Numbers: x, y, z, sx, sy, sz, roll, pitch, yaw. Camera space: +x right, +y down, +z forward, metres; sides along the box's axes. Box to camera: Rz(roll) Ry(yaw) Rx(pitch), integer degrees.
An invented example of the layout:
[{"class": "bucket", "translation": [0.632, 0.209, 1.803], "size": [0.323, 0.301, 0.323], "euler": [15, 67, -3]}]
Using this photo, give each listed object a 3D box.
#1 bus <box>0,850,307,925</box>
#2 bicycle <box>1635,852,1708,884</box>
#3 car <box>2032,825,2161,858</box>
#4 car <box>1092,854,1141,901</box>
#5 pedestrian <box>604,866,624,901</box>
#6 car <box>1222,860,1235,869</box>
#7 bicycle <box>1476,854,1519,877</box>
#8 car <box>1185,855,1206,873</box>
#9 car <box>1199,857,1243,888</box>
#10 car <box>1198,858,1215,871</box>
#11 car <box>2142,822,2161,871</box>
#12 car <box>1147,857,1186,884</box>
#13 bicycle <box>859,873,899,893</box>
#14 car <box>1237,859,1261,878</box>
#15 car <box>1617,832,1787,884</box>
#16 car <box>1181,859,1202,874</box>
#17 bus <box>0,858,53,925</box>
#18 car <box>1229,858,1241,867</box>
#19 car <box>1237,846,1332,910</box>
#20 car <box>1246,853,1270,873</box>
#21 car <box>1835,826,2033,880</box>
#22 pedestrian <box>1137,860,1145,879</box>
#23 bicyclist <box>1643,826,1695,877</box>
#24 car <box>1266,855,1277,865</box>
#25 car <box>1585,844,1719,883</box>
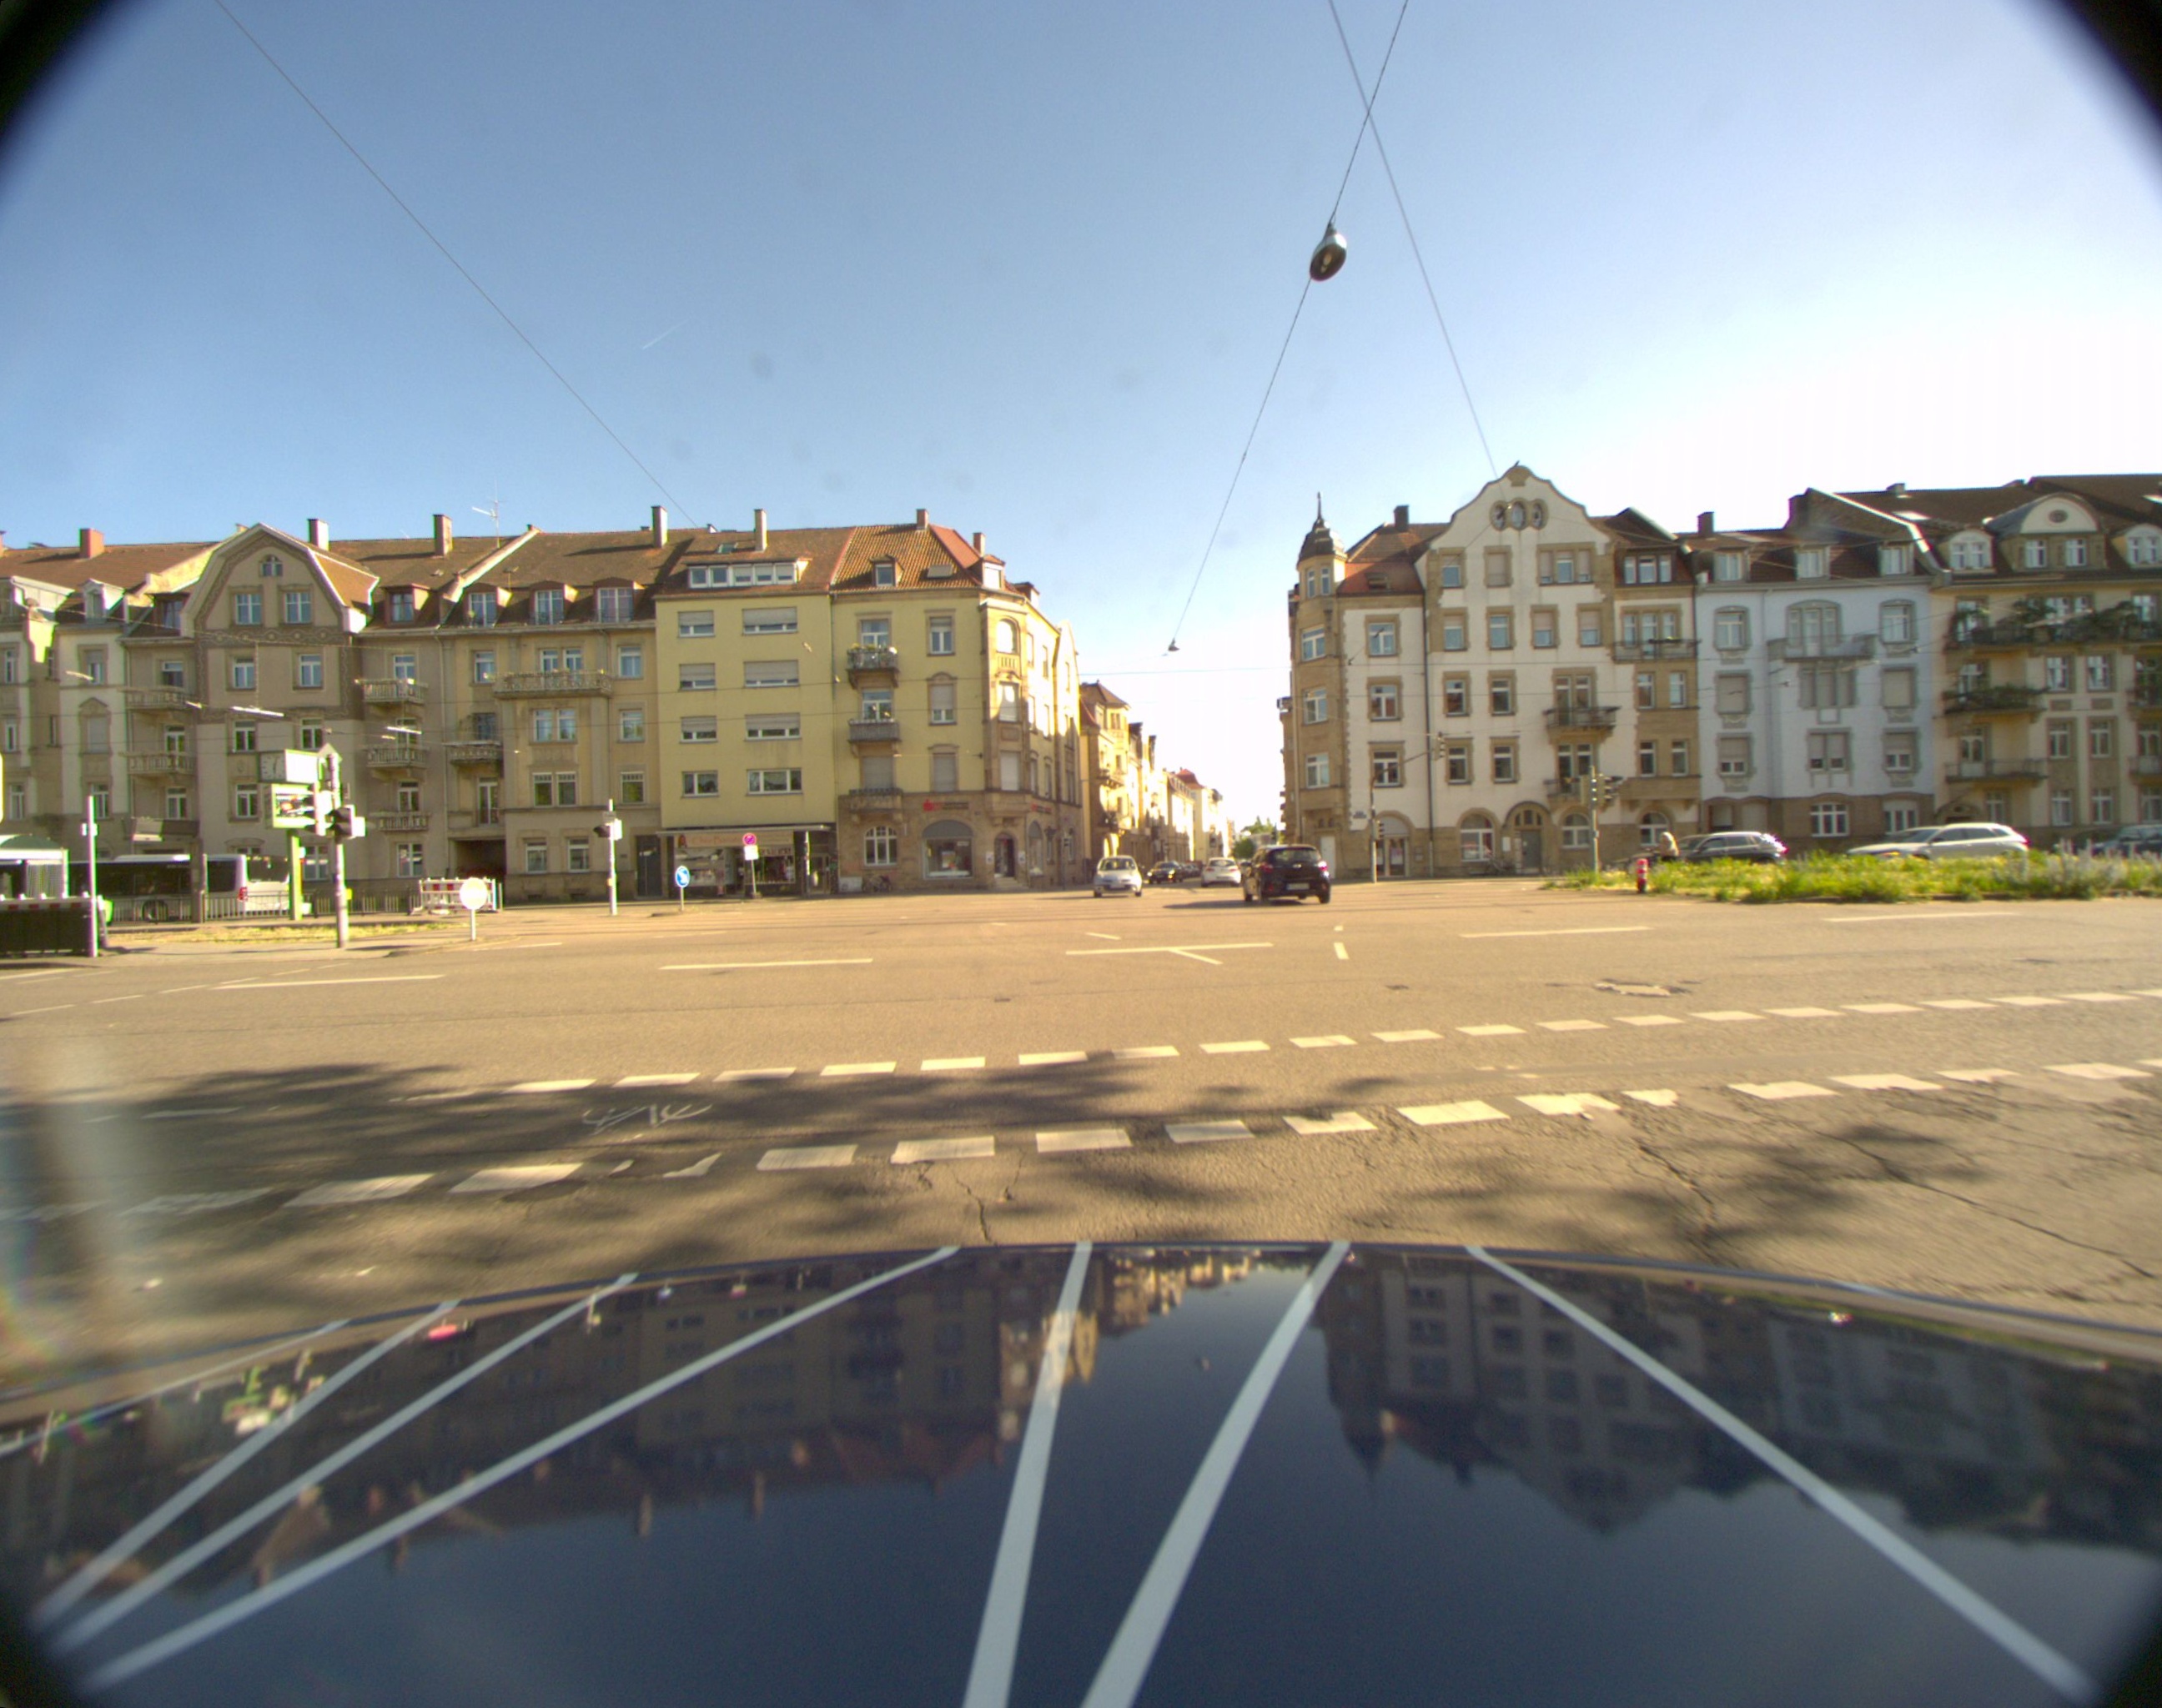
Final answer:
[{"class": "bus", "translation": [-43.117, 1.516, 35.037], "size": [10.682, 3.015, 3.132], "euler": [-2, -1, -7]}, {"class": "bicycle", "translation": [18.542, 0.436, 23.896], "size": [1.635, 0.919, 0.795], "euler": [-2, -1, 3]}, {"class": "car", "translation": [46.070, -0.552, 34.291], "size": [3.893, 1.381, 1.766], "euler": [-2, 0, 3]}, {"class": "car", "translation": [1.269, 0.806, 27.718], "size": [1.651, 1.559, 3.617], "euler": [-1, 0, 2]}, {"class": "pedestrian", "translation": [-24.650, 1.551, 40.090], "size": [0.521, 1.792, 0.709], "euler": [-2, 0, 5]}, {"class": "car", "translation": [27.465, 1.947, 141.336], "size": [1.875, 1.657, 4.005], "euler": [-3, -1, 16]}, {"class": "bicycle", "translation": [21.290, 0.604, 38.843], "size": [1.809, 1.127, 0.610], "euler": [-2, 0, 1]}, {"class": "car", "translation": [13.530, 1.164, 89.632], "size": [1.831, 2.022, 3.824], "euler": [-4, -2, 15]}, {"class": "car", "translation": [6.972, 0.915, 38.206], "size": [1.810, 1.449, 4.002], "euler": [-2, -1, 5]}, {"class": "car", "translation": [16.879, 1.475, 101.887], "size": [1.831, 1.586, 3.824], "euler": [-4, -2, 14]}, {"class": "car", "translation": [35.629, -0.281, 23.220], "size": [3.893, 1.520, 1.766], "euler": [-1, -1, 1]}, {"class": "car", "translation": [5.790, 1.074, 51.208], "size": [1.875, 1.657, 4.005], "euler": [-3, -1, 16]}, {"class": "bicycle", "translation": [-10.670, 1.527, 40.142], "size": [1.951, 0.970, 0.516], "euler": [-2, 2, 2]}, {"class": "car", "translation": [13.073, 1.131, 59.075], "size": [1.554, 1.403, 3.576], "euler": [0, 0, 17]}, {"class": "car", "translation": [21.704, 0.171, 26.702], "size": [4.236, 1.634, 2.001], "euler": [-2, -1, 3]}, {"class": "car", "translation": [12.454, 1.380, 85.283], "size": [1.831, 1.586, 3.824], "euler": [-4, -2, 14]}, {"class": "bus", "translation": [-53.800, 1.820, 33.706], "size": [10.863, 2.998, 3.094], "euler": [-2, -1, -7]}, {"class": "car", "translation": [30.872, 1.759, 152.114], "size": [1.875, 1.657, 4.005], "euler": [-3, -1, 16]}, {"class": "car", "translation": [5.154, 0.567, 19.704], "size": [1.664, 1.455, 3.809], "euler": [-2, 0, 5]}, {"class": "car", "translation": [17.167, 0.845, 73.681], "size": [1.915, 1.649, 4.351], "euler": [-5, -1, 16]}, {"class": "car", "translation": [26.429, -0.021, 23.654], "size": [4.016, 1.521, 1.766], "euler": [-2, 0, 3]}, {"class": "pedestrian", "translation": [5.446, 1.413, 68.864], "size": [0.577, 1.712, 0.698], "euler": [-1, 0, 16]}, {"class": "bicyclist", "translation": [18.466, -0.081, 23.881], "size": [1.073, 1.533, 0.687], "euler": [-2, 0, 3]}, {"class": "car", "translation": [35.685, 1.147, 142.136], "size": [1.916, 1.614, 4.351], "euler": [-5, -1, 14]}, {"class": "car", "translation": [22.592, 0.394, 30.159], "size": [3.893, 1.381, 1.767], "euler": [-2, -1, 3]}]
